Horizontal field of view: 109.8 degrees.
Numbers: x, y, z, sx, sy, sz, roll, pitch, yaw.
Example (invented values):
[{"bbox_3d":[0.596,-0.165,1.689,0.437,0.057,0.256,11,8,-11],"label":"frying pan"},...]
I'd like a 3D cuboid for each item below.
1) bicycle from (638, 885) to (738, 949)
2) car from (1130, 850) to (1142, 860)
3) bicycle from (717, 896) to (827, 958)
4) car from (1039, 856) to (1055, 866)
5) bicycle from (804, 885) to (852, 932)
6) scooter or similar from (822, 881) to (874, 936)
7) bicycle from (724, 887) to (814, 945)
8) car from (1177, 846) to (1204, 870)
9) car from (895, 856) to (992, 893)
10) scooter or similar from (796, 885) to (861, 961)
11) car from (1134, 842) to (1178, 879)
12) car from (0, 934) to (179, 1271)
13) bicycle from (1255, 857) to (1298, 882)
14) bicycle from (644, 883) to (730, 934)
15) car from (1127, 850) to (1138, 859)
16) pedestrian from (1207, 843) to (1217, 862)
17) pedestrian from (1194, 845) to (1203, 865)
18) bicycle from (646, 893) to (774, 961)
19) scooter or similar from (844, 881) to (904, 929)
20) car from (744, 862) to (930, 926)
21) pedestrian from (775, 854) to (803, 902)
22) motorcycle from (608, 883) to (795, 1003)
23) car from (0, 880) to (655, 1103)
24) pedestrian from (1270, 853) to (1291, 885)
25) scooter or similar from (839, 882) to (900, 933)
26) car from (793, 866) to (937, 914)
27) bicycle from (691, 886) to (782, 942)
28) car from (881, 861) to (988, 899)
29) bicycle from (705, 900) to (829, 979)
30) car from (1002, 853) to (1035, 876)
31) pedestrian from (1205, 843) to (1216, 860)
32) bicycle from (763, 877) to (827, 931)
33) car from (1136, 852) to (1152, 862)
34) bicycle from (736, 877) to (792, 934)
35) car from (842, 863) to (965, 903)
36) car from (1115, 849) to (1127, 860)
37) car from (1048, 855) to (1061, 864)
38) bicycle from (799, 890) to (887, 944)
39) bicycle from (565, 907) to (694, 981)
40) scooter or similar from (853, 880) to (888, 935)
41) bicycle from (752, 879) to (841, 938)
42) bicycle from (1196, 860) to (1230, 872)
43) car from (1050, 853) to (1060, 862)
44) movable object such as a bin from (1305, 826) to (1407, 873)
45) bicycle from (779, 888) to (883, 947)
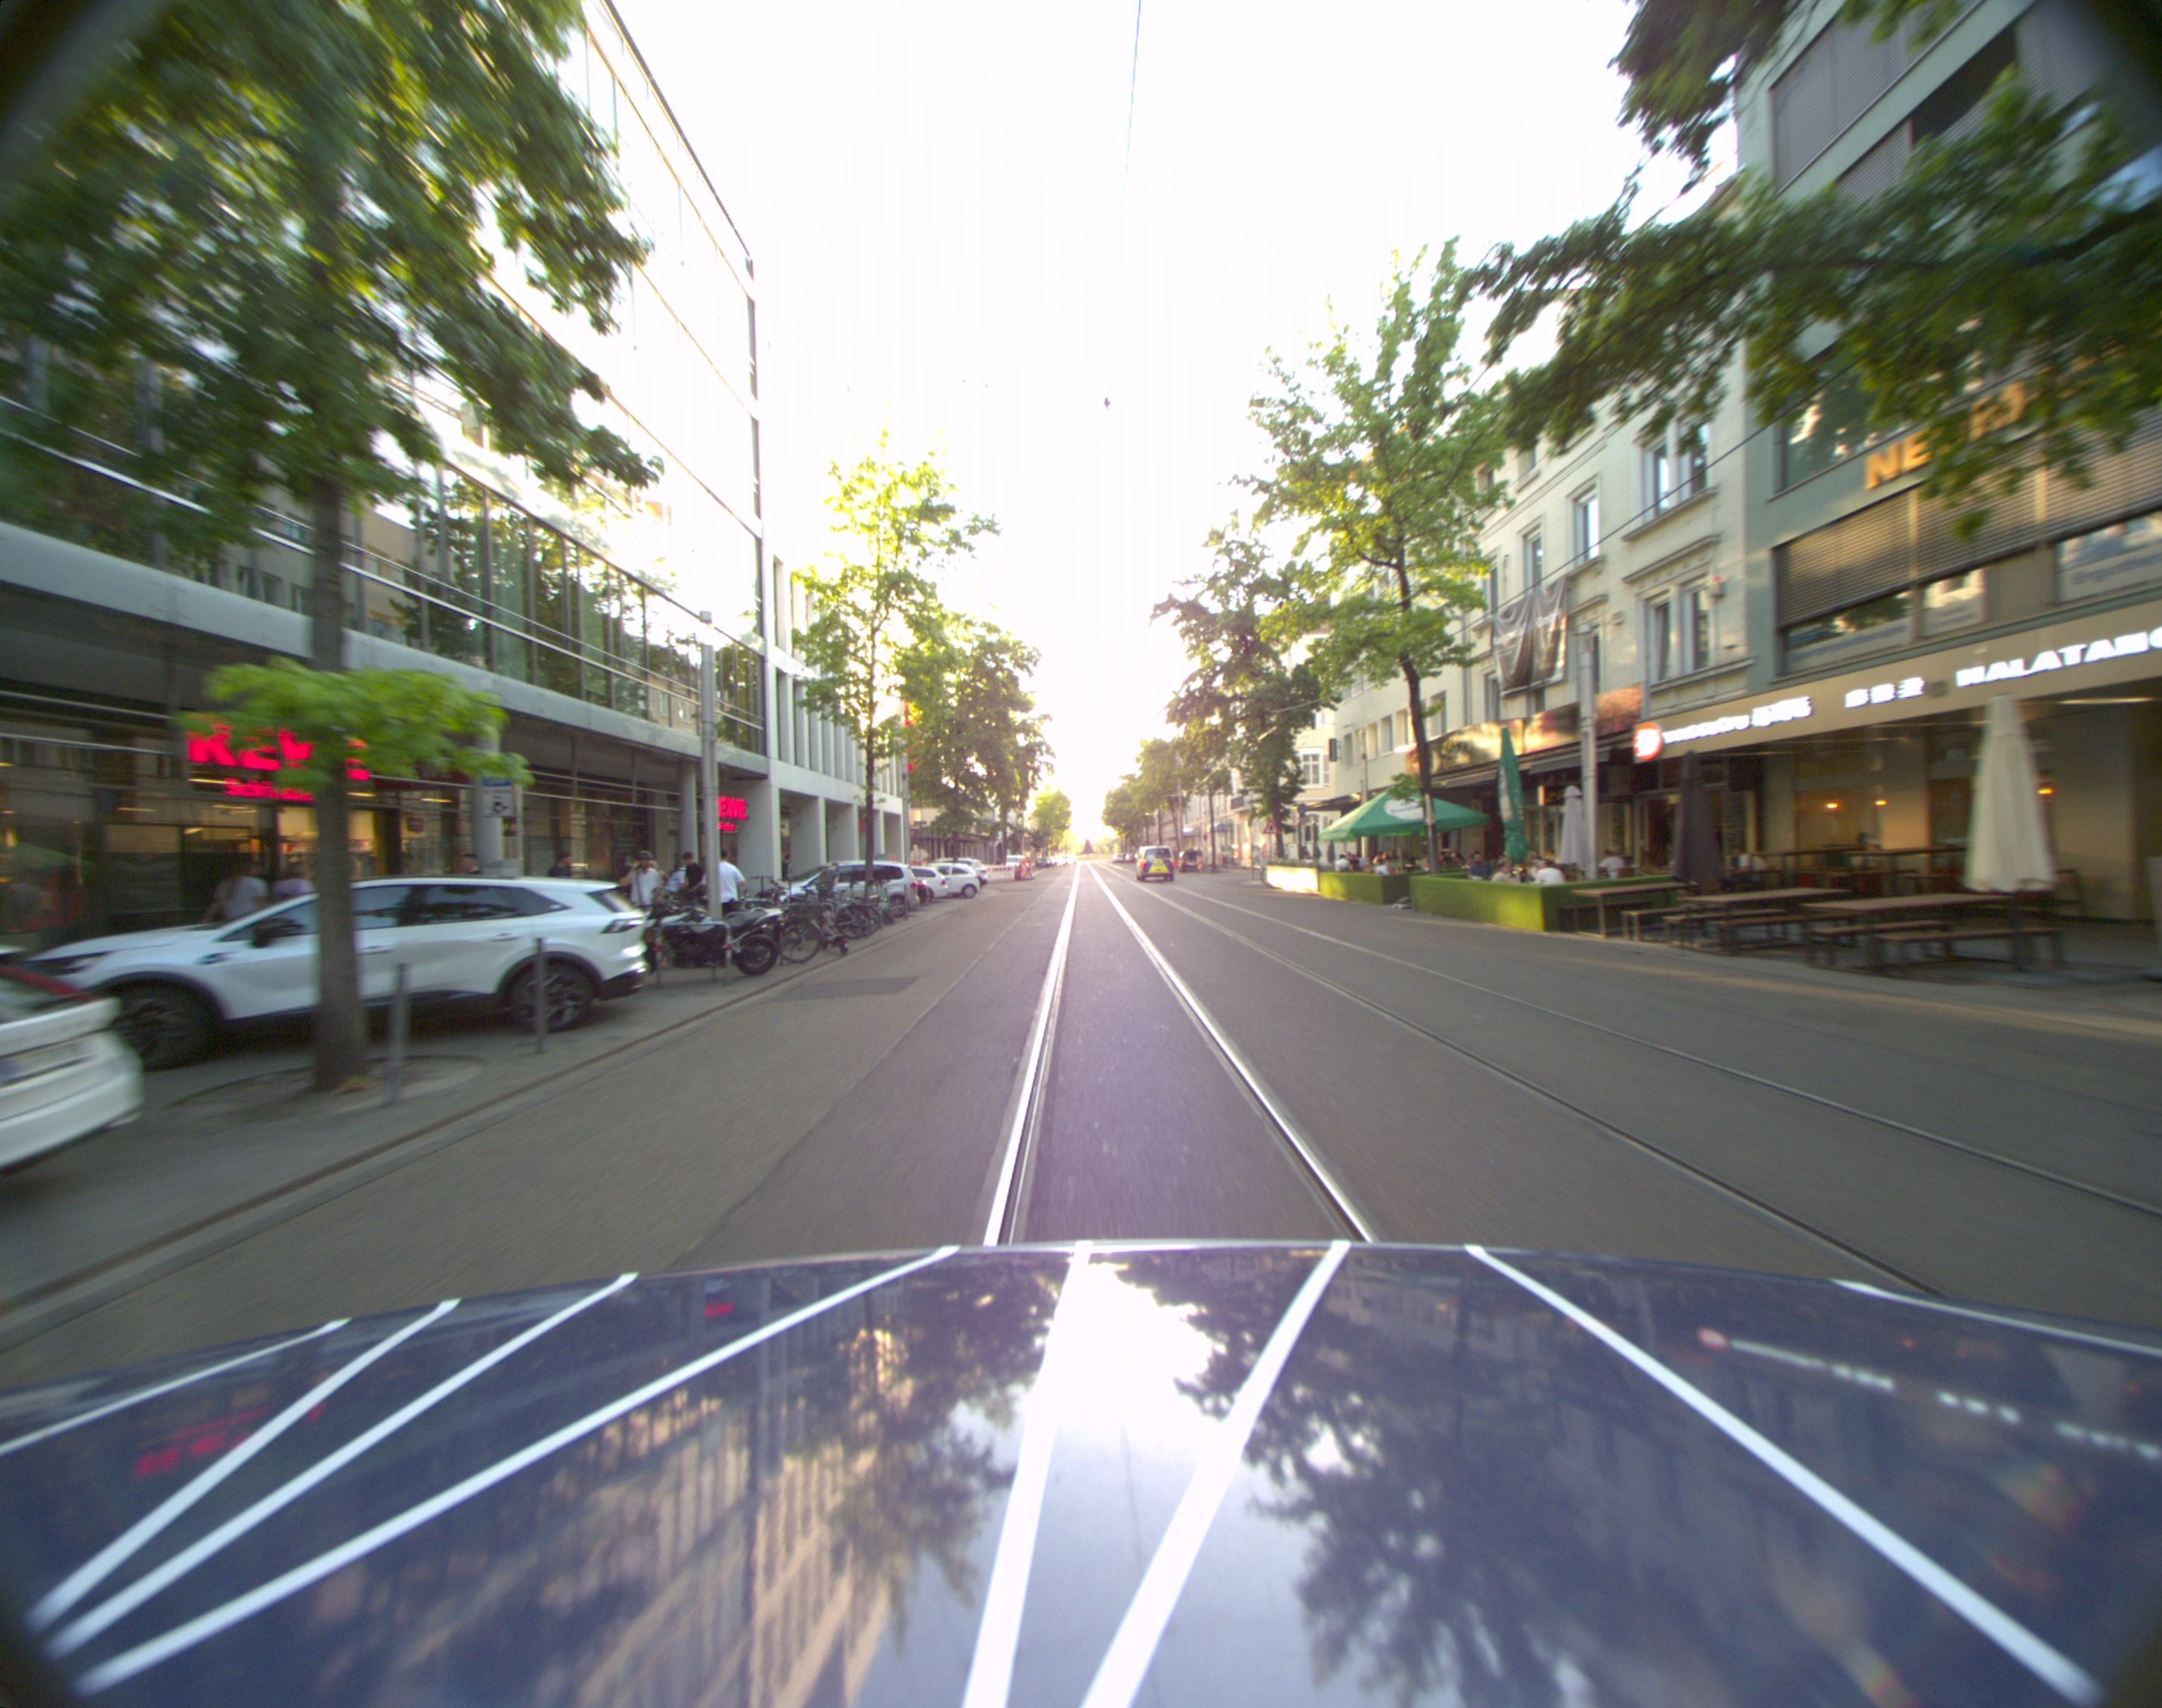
[{"bbox_3d":[-7.851,1.239,15.210,1.699,1.182,0.553,1,0,-38],"label":"bicycle"},{"bbox_3d":[9.688,0.150,133.714,1.998,1.567,4.105,-2,0,2],"label":"car"},{"bbox_3d":[-5.824,1.346,14.363,1.836,1.069,0.622,1,-1,-32],"label":"bicycle"},{"bbox_3d":[-4.611,0.994,104.414,2.002,1.354,4.104,0,0,0],"label":"car"},{"bbox_3d":[-6.382,1.338,19.093,0.632,1.070,1.874,1,-1,-35],"label":"bicycle"},{"bbox_3d":[-5.467,1.270,17.901,0.569,1.198,1.283,0,0,15],"label":"scooter or similar"},{"bbox_3d":[-6.422,1.263,15.715,1.688,1.132,0.478,0,0,-20],"label":"bicycle"},{"bbox_3d":[9.051,0.298,62.958,1.772,1.754,3.878,-4,0,4],"label":"car"},{"bbox_3d":[-6.672,0.963,36.811,4.278,1.662,1.948,1,1,-24],"label":"car"},{"bbox_3d":[-4.741,1.251,14.217,0.698,1.296,1.389,-1,0,-38],"label":"scooter or similar"},{"bbox_3d":[4.294,0.363,44.336,1.998,1.965,4.849,-2,0,0],"label":"car"},{"bbox_3d":[-7.028,1.178,2.919,4.190,1.449,1.860,1,0,-23],"label":"car"},{"bbox_3d":[9.345,0.732,36.363,1.866,1.132,0.626,-2,1,-3],"label":"bicycle"},{"bbox_3d":[-9.453,1.284,18.314,0.572,1.076,1.886,0,0,23],"label":"bicycle"},{"bbox_3d":[9.459,0.141,139.714,1.998,1.540,4.105,-2,0,2],"label":"car"},{"bbox_3d":[13.152,-0.183,76.206,0.759,1.874,0.880,-4,1,1],"label":"pedestrian"},{"bbox_3d":[11.572,0.086,74.614,0.679,1.874,0.769,-4,1,1],"label":"pedestrian"},{"bbox_3d":[-6.691,1.293,13.818,2.002,1.141,0.697,1,0,-18],"label":"bicycle"},{"bbox_3d":[-5.405,1.310,19.854,0.578,1.143,1.404,-1,0,44],"label":"scooter or similar"},{"bbox_3d":[-6.920,1.057,21.737,4.684,1.630,1.950,0,0,-35],"label":"car"},{"bbox_3d":[-11.013,0.917,28.685,0.681,1.760,0.805,-2,-1,0],"label":"pedestrian"},{"bbox_3d":[-5.252,1.165,10.634,2.210,1.463,0.794,0,-1,-44],"label":"motorcycle"},{"bbox_3d":[-6.763,1.082,7.510,4.352,1.554,1.872,1,0,-32],"label":"car"},{"bbox_3d":[8.910,0.652,33.964,0.694,1.369,0.792,-2,1,2],"label":"pedestrian"},{"bbox_3d":[-5.286,1.320,19.024,1.335,1.175,0.497,-1,0,-37],"label":"scooter or similar"},{"bbox_3d":[-7.102,1.145,24.893,4.355,1.414,1.951,1,1,-22],"label":"car"},{"bbox_3d":[-7.361,1.266,16.298,1.697,1.143,0.501,0,0,-15],"label":"bicycle"},{"bbox_3d":[-6.176,1.062,32.185,4.075,1.492,1.791,1,1,-30],"label":"car"},{"bbox_3d":[-5.087,1.347,12.332,1.752,1.110,0.805,-1,0,-32],"label":"bicycle"},{"bbox_3d":[-4.865,0.789,59.678,1.998,1.760,4.671,1,0,2],"label":"car"},{"bbox_3d":[12.787,-0.255,75.107,0.886,1.646,0.762,-2,1,-2],"label":"pedestrian"},{"bbox_3d":[-7.013,1.199,18.597,1.657,1.242,0.642,0,0,36],"label":"bicycle"},{"bbox_3d":[9.342,0.441,112.539,1.998,1.494,4.104,-2,0,0],"label":"car"},{"bbox_3d":[-7.671,1.220,18.373,1.590,1.281,0.581,0,0,40],"label":"bicycle"},{"bbox_3d":[-6.804,1.103,29.096,4.355,1.414,1.825,1,0,-23],"label":"car"},{"bbox_3d":[7.171,0.063,135.253,1.998,1.727,4.105,-2,0,2],"label":"car"},{"bbox_3d":[-3.988,0.845,114.630,1.738,1.311,4.104,0,0,-1],"label":"car"},{"bbox_3d":[-5.152,1.348,16.471,1.752,1.070,0.493,0,0,-30],"label":"bicycle"},{"bbox_3d":[-6.782,1.343,11.485,1.599,1.027,0.552,3,-1,-29],"label":"bicycle"},{"bbox_3d":[-5.019,1.265,18.187,0.483,1.215,1.214,1,1,1],"label":"scooter or similar"},{"bbox_3d":[-6.342,1.198,17.021,1.835,1.266,0.680,0,0,-18],"label":"bicycle"},{"bbox_3d":[9.522,0.870,54.778,2.076,0.702,1.330,-3,0,-6],"label":"bicycle"},{"bbox_3d":[-4.736,0.662,136.921,1.686,1.471,3.846,-2,0,-1],"label":"car"},{"bbox_3d":[17.626,-0.320,48.901,5.562,2.856,2.643,-1,1,-2],"label":"movable object such as a bin"},{"bbox_3d":[-5.269,1.312,16.045,1.997,1.123,0.679,1,0,-30],"label":"bicycle"}]
